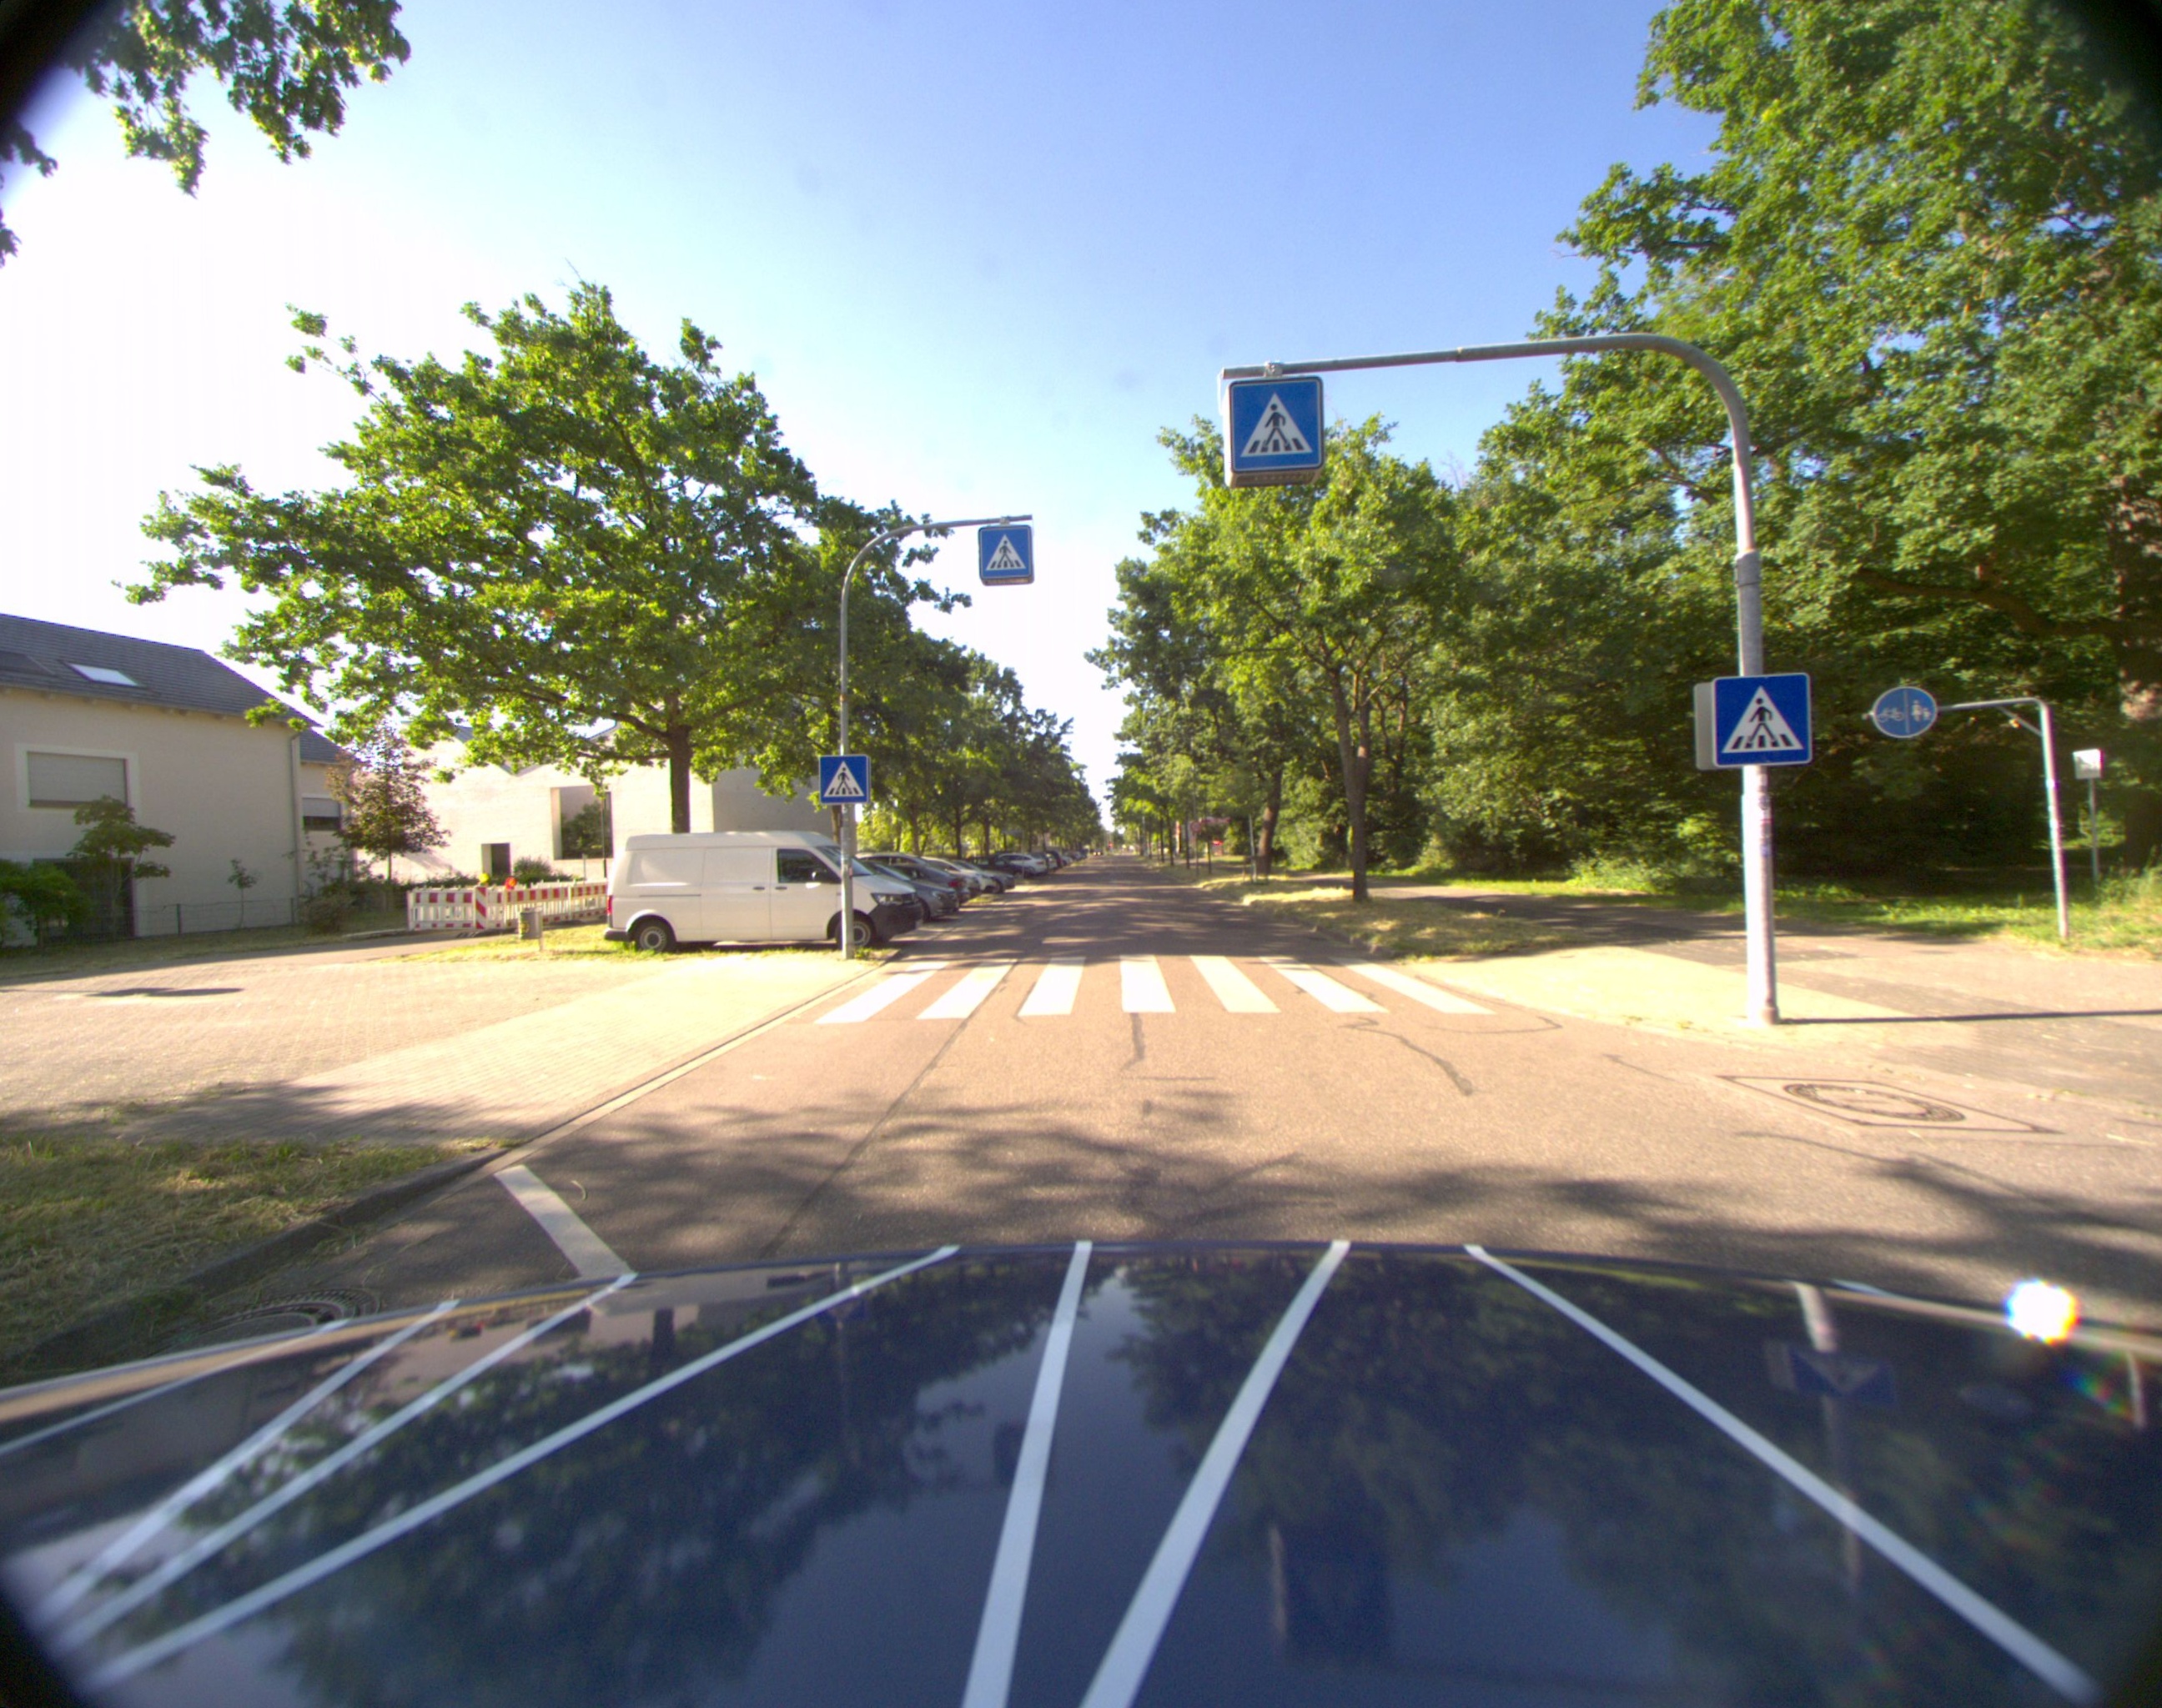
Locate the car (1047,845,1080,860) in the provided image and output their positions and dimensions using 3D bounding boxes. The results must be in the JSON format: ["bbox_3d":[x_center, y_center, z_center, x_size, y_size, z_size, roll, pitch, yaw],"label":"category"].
[{"bbox_3d":[-2.366,-0.195,101.223,4.151,1.838,1.949,-3,1,3],"label":"car"}]

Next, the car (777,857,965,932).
[{"bbox_3d":[-5.025,0.960,18.542,3.996,1.554,1.758,-3,1,4],"label":"car"}]

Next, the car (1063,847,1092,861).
[{"bbox_3d":[-0.508,-0.008,112.454,4.151,1.838,1.949,-3,1,3],"label":"car"}]

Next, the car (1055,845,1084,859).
[{"bbox_3d":[-1.772,-0.322,117.553,4.151,1.838,1.949,-3,1,3],"label":"car"}]

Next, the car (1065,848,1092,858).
[{"bbox_3d":[-0.433,-0.094,122.541,4.151,1.401,1.800,-3,1,3],"label":"car"}]

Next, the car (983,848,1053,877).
[{"bbox_3d":[-4.176,0.559,50.570,4.394,1.733,1.533,-3,1,4],"label":"car"}]

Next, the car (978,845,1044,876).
[{"bbox_3d":[-4.909,0.428,53.821,4.394,1.977,1.533,-3,1,4],"label":"car"}]

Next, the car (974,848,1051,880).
[{"bbox_3d":[-4.135,0.598,46.370,4.394,1.733,1.533,-3,1,4],"label":"car"}]

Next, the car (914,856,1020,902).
[{"bbox_3d":[-4.639,1.006,31.239,4.018,1.650,1.533,-3,1,4],"label":"car"}]

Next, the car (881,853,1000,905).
[{"bbox_3d":[-5.167,0.914,28.259,4.018,1.669,1.533,-3,1,4],"label":"car"}]

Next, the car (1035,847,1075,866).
[{"bbox_3d":[-2.719,0.245,80.271,3.996,1.838,1.863,-3,1,3],"label":"car"}]

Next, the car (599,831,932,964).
[{"bbox_3d":[-5.391,0.718,13.460,5.045,2.069,1.891,-1,1,2],"label":"car"}]

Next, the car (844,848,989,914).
[{"bbox_3d":[-5.045,0.805,23.655,4.018,1.783,1.713,-3,1,4],"label":"car"}]

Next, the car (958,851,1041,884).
[{"bbox_3d":[-4.606,0.780,43.356,4.394,1.632,1.533,-3,1,4],"label":"car"}]

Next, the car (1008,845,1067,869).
[{"bbox_3d":[-3.441,0.220,60.505,4.394,1.733,1.533,-3,1,4],"label":"car"}]

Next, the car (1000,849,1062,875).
[{"bbox_3d":[-3.768,0.574,57.634,4.394,1.733,1.533,-3,1,4],"label":"car"}]

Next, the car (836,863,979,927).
[{"bbox_3d":[-4.767,1.118,21.097,3.515,1.533,1.448,-3,1,4],"label":"car"}]
